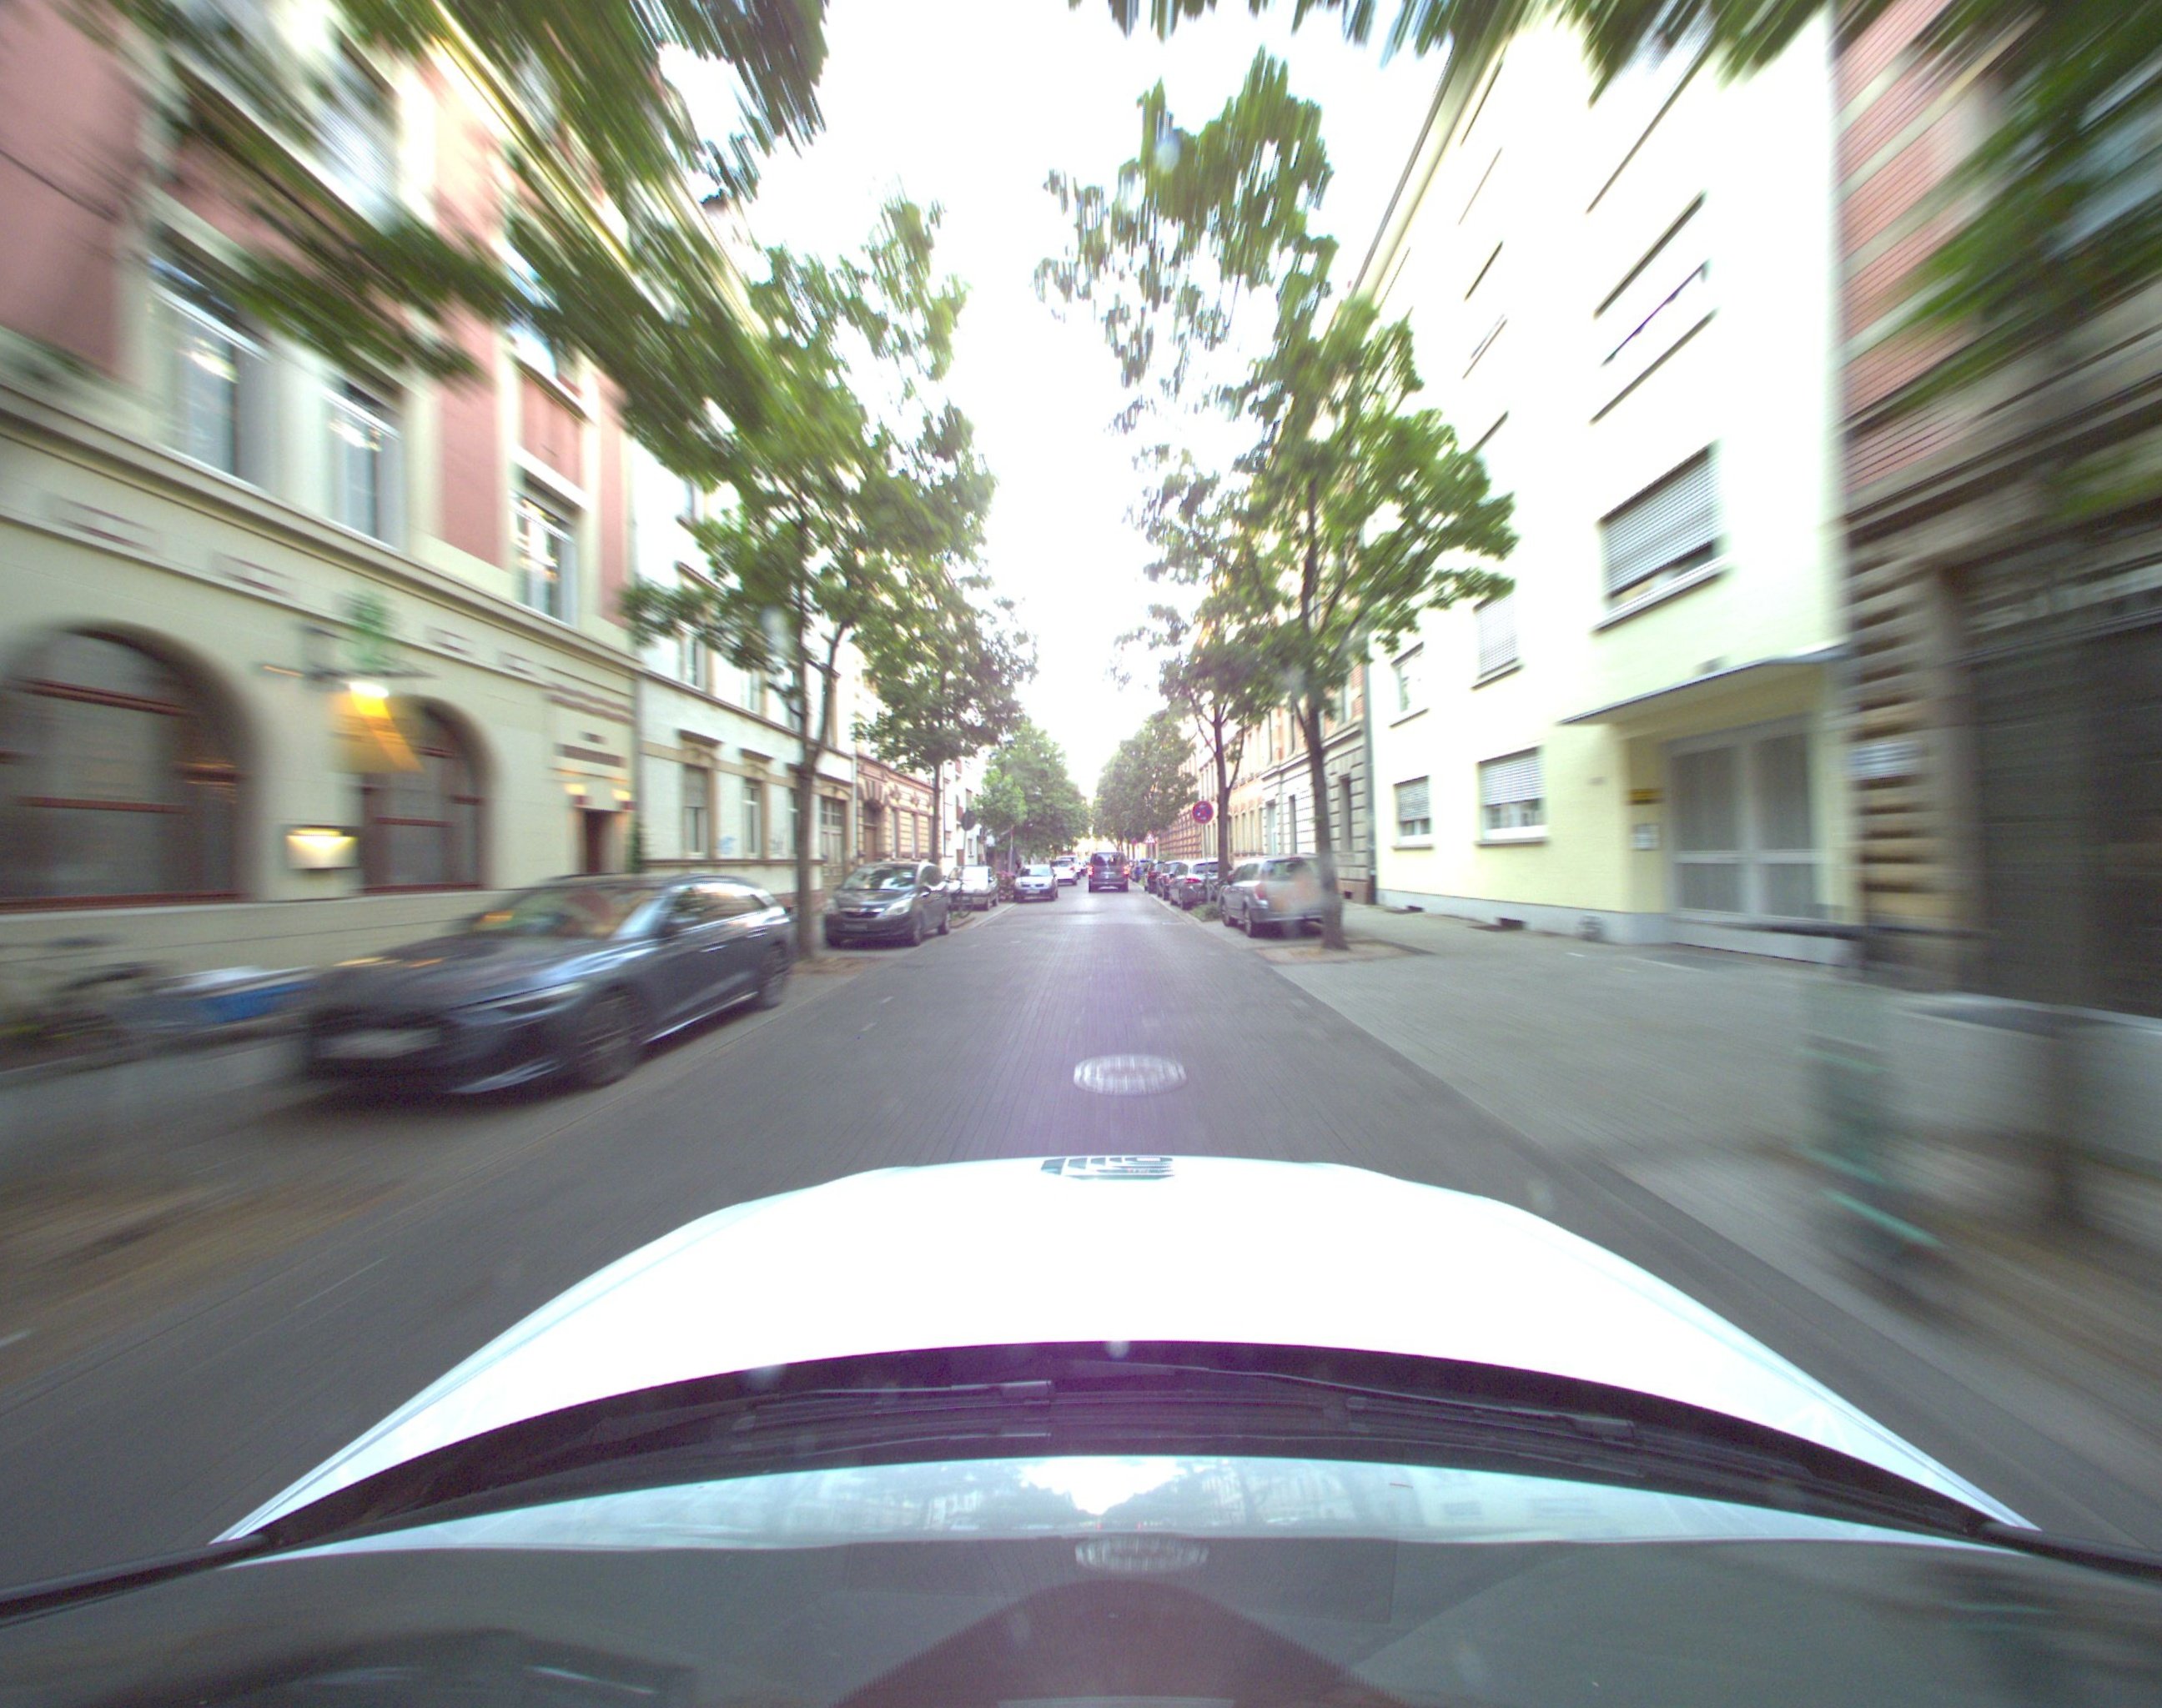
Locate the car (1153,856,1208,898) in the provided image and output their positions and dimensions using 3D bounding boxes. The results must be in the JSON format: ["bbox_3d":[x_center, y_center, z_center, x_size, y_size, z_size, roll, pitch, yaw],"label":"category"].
[{"bbox_3d":[3.725,0.837,30.992,1.630,1.424,3.564,-3,0,0],"label":"car"}]

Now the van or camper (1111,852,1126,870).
[{"bbox_3d":[5.861,1.105,127.605,1.987,2.599,5.423,-1,-1,0],"label":"van or camper"}]

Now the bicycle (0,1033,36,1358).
[{"bbox_3d":[-4.231,1.064,2.437,1.677,1.003,0.430,1,-1,2],"label":"bicycle"}]

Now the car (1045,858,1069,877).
[{"bbox_3d":[-2.165,1.191,74.281,1.986,1.646,4.923,0,-1,1],"label":"car"}]

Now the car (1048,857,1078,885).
[{"bbox_3d":[-1.102,1.018,49.496,1.659,1.563,3.997,-2,0,-2],"label":"car"}]

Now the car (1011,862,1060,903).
[{"bbox_3d":[-1.730,1.073,31.983,1.574,1.420,3.753,-2,-1,1],"label":"car"}]

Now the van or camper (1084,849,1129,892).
[{"bbox_3d":[1.276,0.783,39.246,2.027,1.897,4.274,-1,-1,3],"label":"van or camper"}]

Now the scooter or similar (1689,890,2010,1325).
[{"bbox_3d":[2.766,0.778,3.021,0.667,1.190,1.123,-5,-2,40],"label":"scooter or similar"}]

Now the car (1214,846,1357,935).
[{"bbox_3d":[3.879,0.630,16.199,1.753,1.463,4.308,-2,0,0],"label":"car"}]

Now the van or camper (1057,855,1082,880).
[{"bbox_3d":[-0.914,1.070,64.760,1.871,1.843,4.751,-2,0,-1],"label":"van or camper"}]

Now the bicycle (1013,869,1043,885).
[{"bbox_3d":[-3.119,1.353,47.979,1.709,0.907,0.380,-1,-1,-29],"label":"bicycle"}]

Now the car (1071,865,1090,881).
[{"bbox_3d":[-0.023,1.826,78.866,1.824,1.517,4.516,-2,-1,1],"label":"car"}]

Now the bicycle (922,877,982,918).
[{"bbox_3d":[-3.594,1.196,22.550,1.805,1.085,0.672,-2,-2,44],"label":"bicycle"}]

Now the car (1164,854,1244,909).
[{"bbox_3d":[3.726,0.785,25.381,1.711,1.476,4.366,-3,0,-1],"label":"car"}]

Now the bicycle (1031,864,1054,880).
[{"bbox_3d":[-3.014,1.396,63.769,0.690,1.163,1.834,-3,-1,43],"label":"bicycle"}]

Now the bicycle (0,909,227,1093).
[{"bbox_3d":[-7.190,0.991,5.678,0.524,1.097,1.795,-2,-1,2],"label":"bicycle"}]

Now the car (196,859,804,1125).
[{"bbox_3d":[-4.132,0.808,7.023,1.799,1.518,4.686,0,0,1],"label":"car"}]

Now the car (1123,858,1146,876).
[{"bbox_3d":[4.467,1.058,68.347,1.688,1.401,4.646,-3,0,1],"label":"car"}]

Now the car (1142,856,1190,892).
[{"bbox_3d":[3.739,0.864,36.494,1.760,1.415,4.475,-4,0,2],"label":"car"}]

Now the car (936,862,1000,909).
[{"bbox_3d":[-3.669,1.004,26.991,1.582,1.437,3.566,0,0,1],"label":"car"}]

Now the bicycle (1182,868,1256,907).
[{"bbox_3d":[3.807,0.900,22.479,1.922,0.982,0.634,-2,-1,-21],"label":"bicycle"}]

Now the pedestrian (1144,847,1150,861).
[{"bbox_3d":[7.797,0.039,95.851,0.624,1.648,0.532,-1,-1,1],"label":"pedestrian"}]

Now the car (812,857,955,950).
[{"bbox_3d":[-3.734,0.857,16.093,1.700,1.581,4.080,0,0,2],"label":"car"}]

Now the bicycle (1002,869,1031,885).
[{"bbox_3d":[-3.863,1.372,48.758,1.670,0.898,0.380,-1,-1,-29],"label":"bicycle"}]

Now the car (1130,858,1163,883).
[{"bbox_3d":[4.111,1.015,51.436,1.623,1.466,4.244,-2,0,-1],"label":"car"}]
